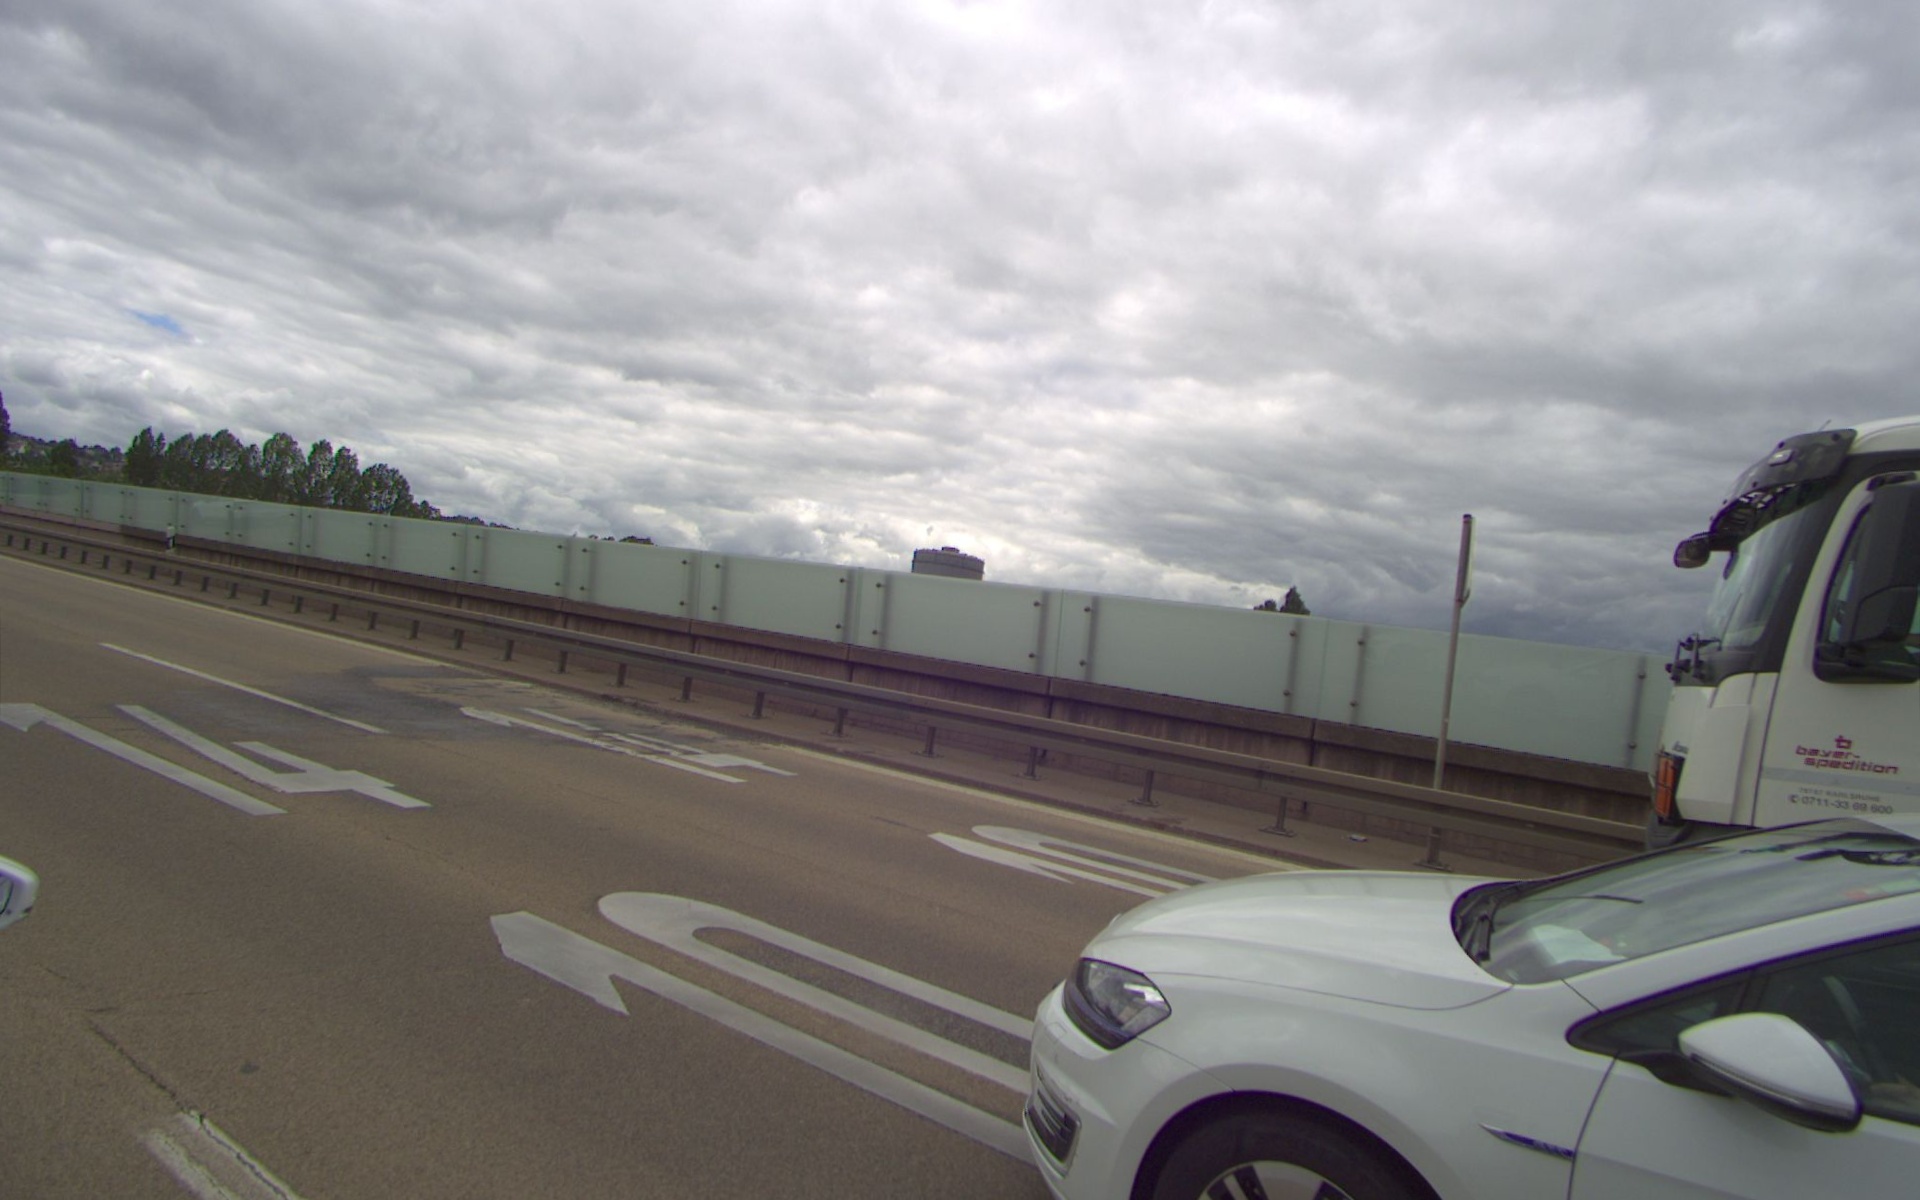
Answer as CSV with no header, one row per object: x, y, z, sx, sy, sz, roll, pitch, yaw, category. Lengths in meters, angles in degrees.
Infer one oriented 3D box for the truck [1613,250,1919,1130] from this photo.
5.931,0.585,4.348,4.823,3.555,2.635,6,-1,32,truck

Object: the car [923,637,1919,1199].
2.127,1.101,2.086,4.004,1.469,1.757,7,-1,31,car
